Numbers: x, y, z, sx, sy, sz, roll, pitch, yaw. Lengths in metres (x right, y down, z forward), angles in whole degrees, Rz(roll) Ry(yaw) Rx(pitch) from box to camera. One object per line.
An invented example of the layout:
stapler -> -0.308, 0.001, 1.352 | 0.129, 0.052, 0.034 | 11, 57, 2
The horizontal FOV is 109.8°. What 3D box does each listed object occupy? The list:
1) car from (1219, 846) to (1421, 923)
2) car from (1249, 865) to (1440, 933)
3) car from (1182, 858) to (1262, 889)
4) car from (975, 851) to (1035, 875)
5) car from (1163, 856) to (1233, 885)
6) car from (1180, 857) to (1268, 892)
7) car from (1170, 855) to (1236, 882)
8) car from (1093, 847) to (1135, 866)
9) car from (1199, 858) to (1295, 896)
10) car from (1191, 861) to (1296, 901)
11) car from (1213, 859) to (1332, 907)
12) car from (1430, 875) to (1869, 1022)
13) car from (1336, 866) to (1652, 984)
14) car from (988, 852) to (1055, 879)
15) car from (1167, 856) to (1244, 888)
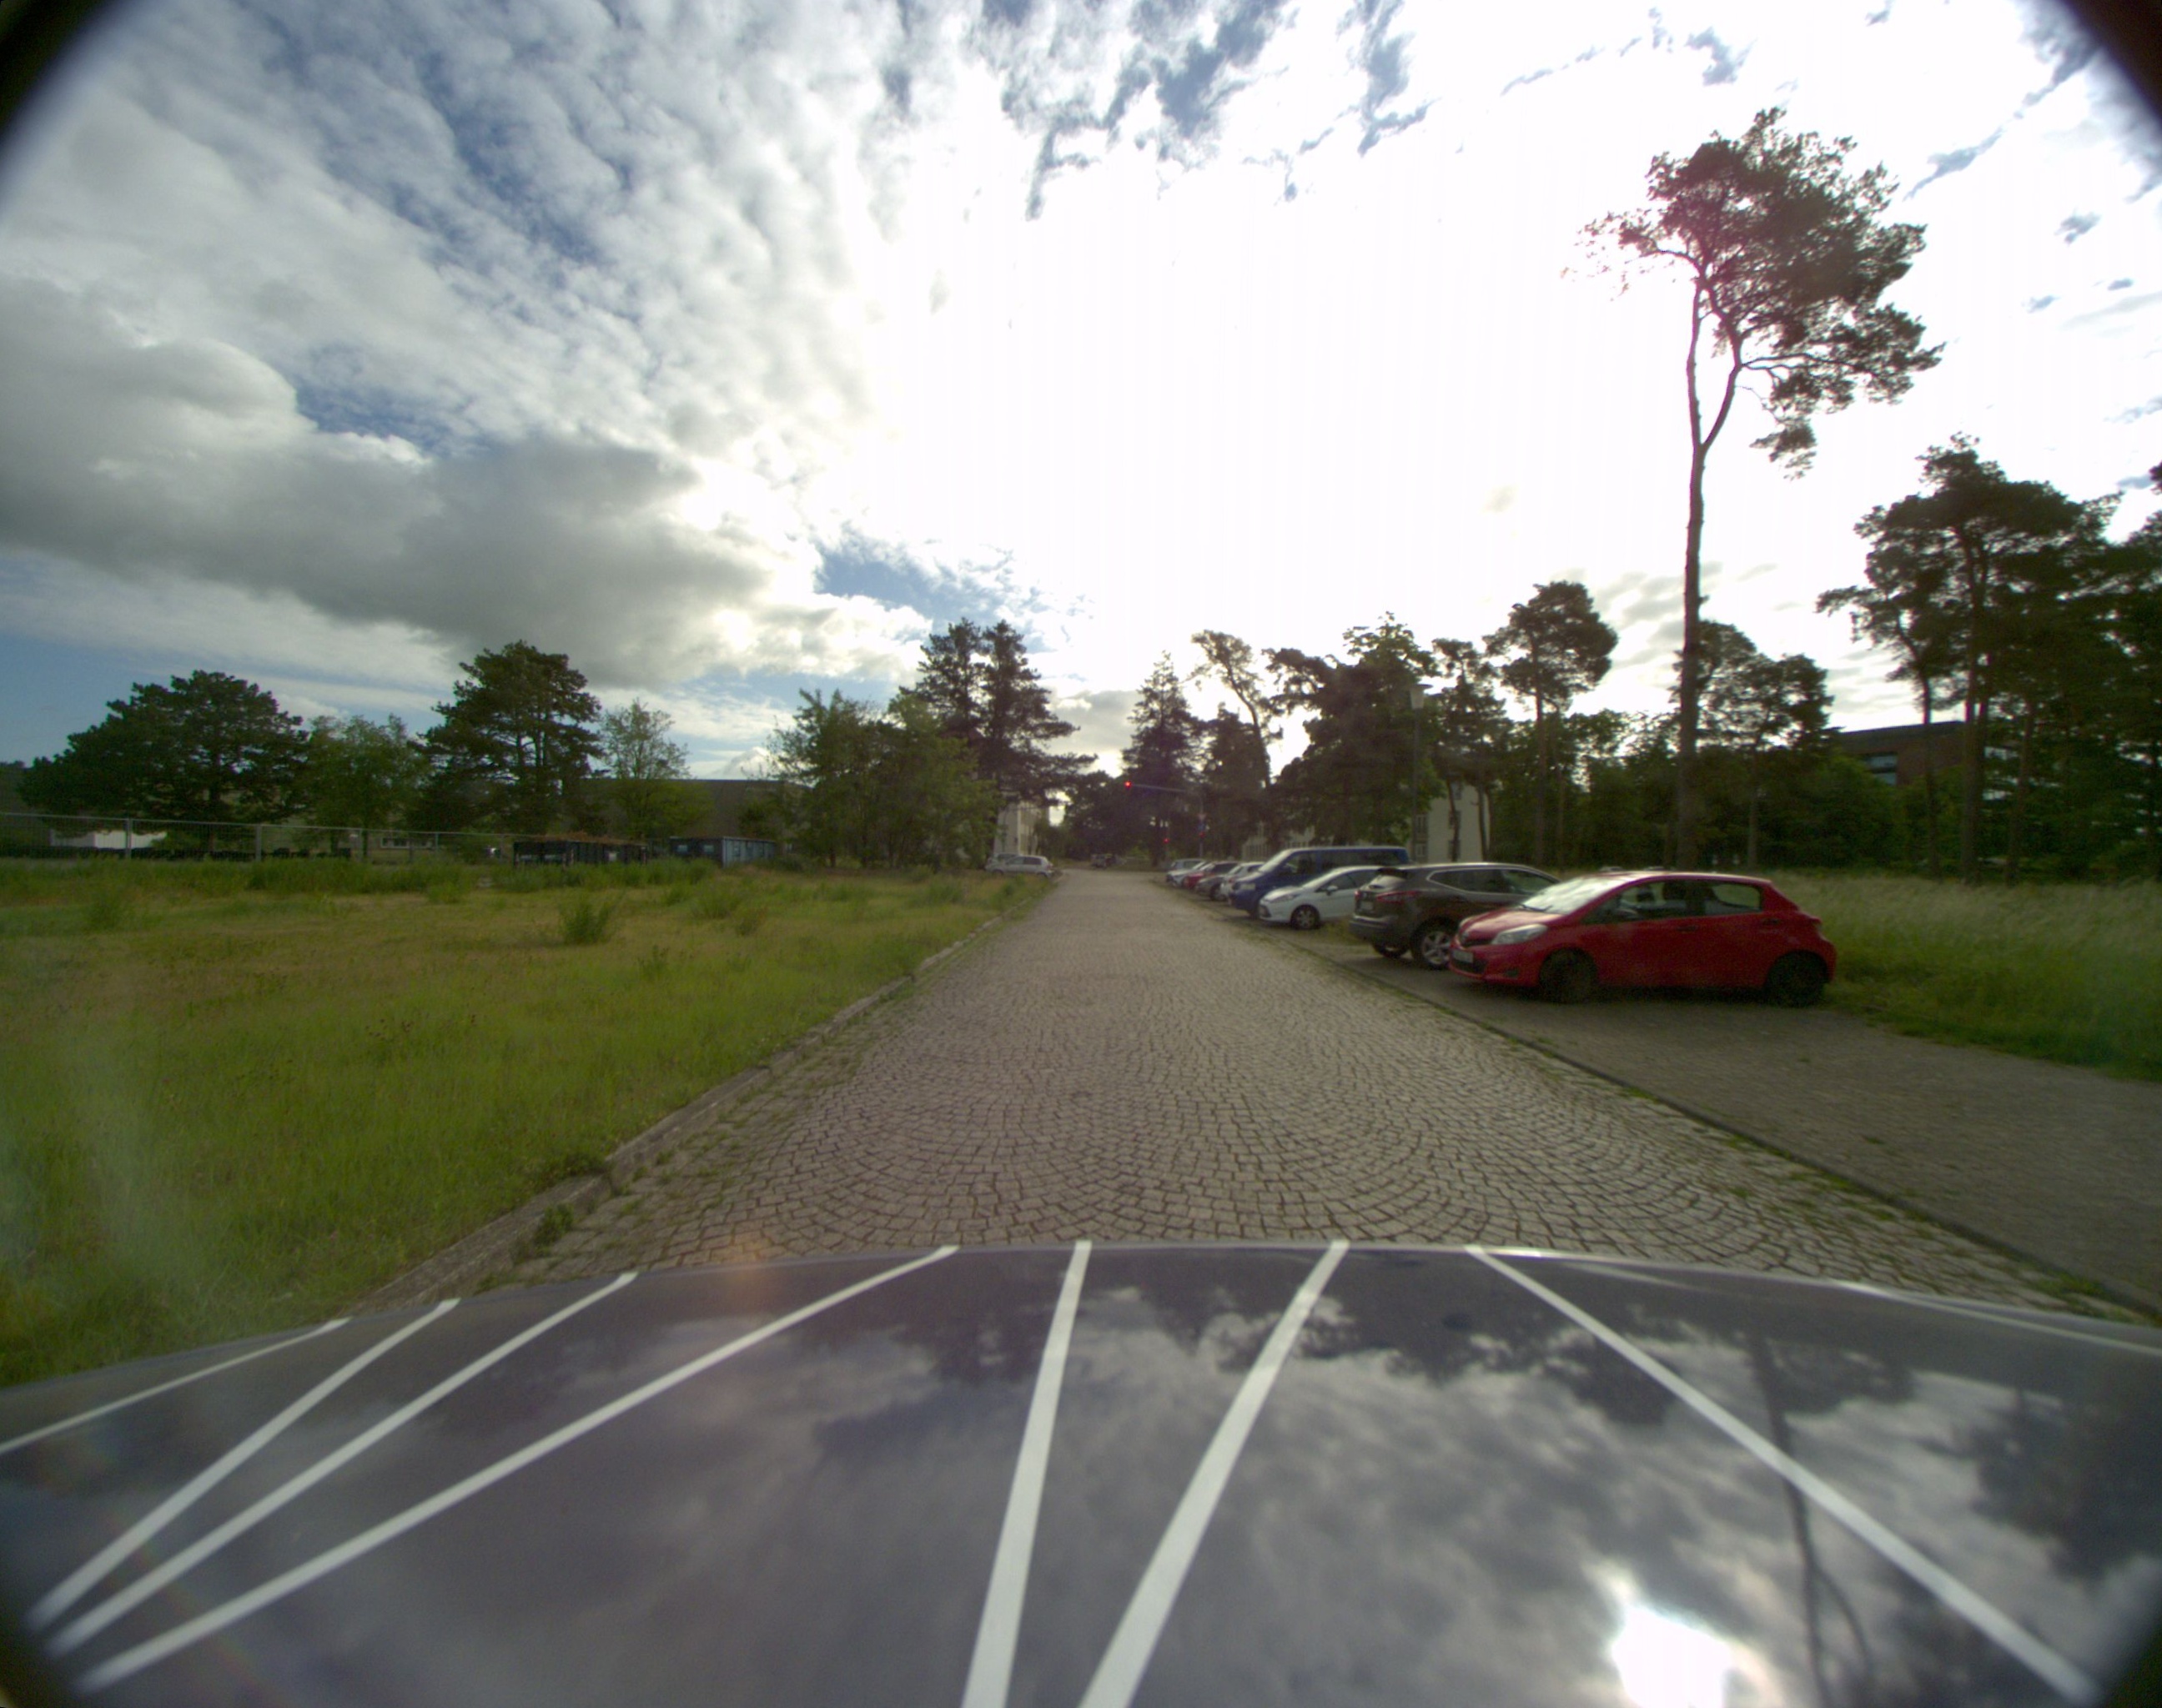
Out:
car -> 6.420, 0.778, 20.845 | 4.833, 1.855, 2.161 | -2, 1, -1
car -> 6.206, 1.045, 18.192 | 3.930, 1.385, 1.742 | -2, 1, -1
car -> 6.810, 0.951, 36.977 | 3.649, 1.341, 1.621 | -2, 1, 5
car -> -4.919, 0.570, 49.105 | 3.731, 1.429, 1.625 | -1, 1, -7
car -> 6.442, 0.884, 42.195 | 3.571, 1.450, 1.626 | -2, 1, -2
car -> 6.500, 0.929, 34.689 | 3.572, 1.408, 1.637 | -2, 1, -6
car -> 7.126, 0.842, 44.554 | 3.455, 1.424, 1.627 | -2, 1, -9
car -> 4.815, 0.399, 111.601 | 5.797, 2.548, 2.768 | -2, 1, -4
car -> 6.949, 0.946, 31.942 | 3.572, 1.426, 1.605 | -2, 1, -6
car -> 6.178, 1.004, 29.033 | 3.600, 1.412, 1.617 | -1, 1, -6
car -> 6.581, 0.972, 26.310 | 3.600, 1.446, 1.686 | -2, 1, -6
car -> 6.563, 1.047, 9.118 | 3.950, 1.511, 1.707 | 1, 0, 1
car -> 6.259, 1.037, 11.844 | 3.916, 1.594, 1.821 | 1, 0, -2
car -> -3.410, 0.651, 43.757 | 3.730, 1.430, 1.626 | -1, 1, -3
car -> 6.402, 0.897, 39.091 | 3.573, 1.479, 1.601 | -2, 1, -7
